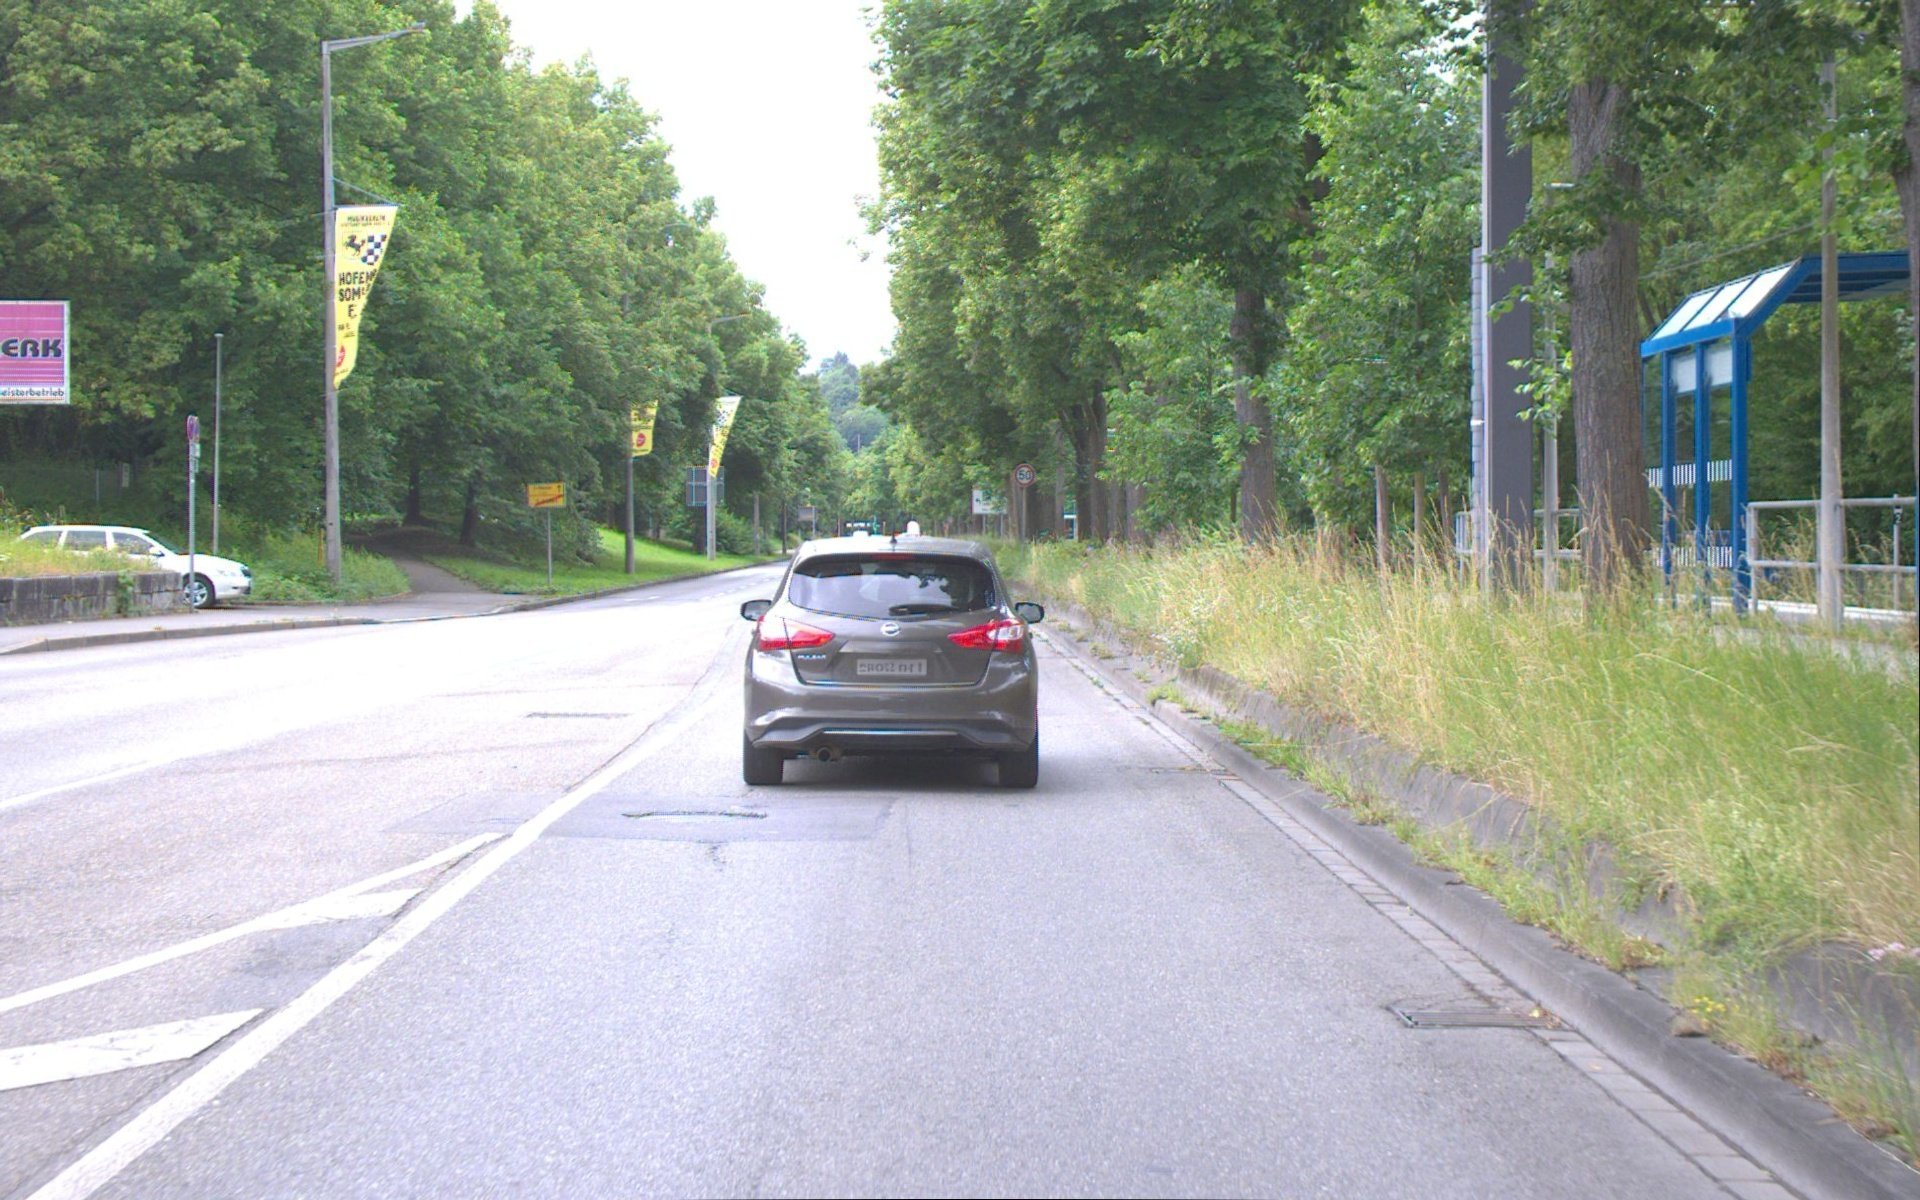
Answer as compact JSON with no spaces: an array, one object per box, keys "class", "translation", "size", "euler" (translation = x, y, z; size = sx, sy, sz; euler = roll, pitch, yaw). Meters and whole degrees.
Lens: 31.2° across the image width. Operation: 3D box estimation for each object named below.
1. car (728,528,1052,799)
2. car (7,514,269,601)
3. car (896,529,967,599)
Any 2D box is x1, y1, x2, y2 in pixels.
[{"class":"car","translation":[-0.365,0.339,21.780],"size":[1.837,1.523,3.929],"euler":[1,1,1]},{"class":"car","translation":[-15.100,-0.793,63.325],"size":[4.374,1.436,1.962],"euler":[2,1,-3]},{"class":"car","translation":[-0.636,-0.827,78.812],"size":[1.503,1.523,3.671],"euler":[2,1,1]}]
